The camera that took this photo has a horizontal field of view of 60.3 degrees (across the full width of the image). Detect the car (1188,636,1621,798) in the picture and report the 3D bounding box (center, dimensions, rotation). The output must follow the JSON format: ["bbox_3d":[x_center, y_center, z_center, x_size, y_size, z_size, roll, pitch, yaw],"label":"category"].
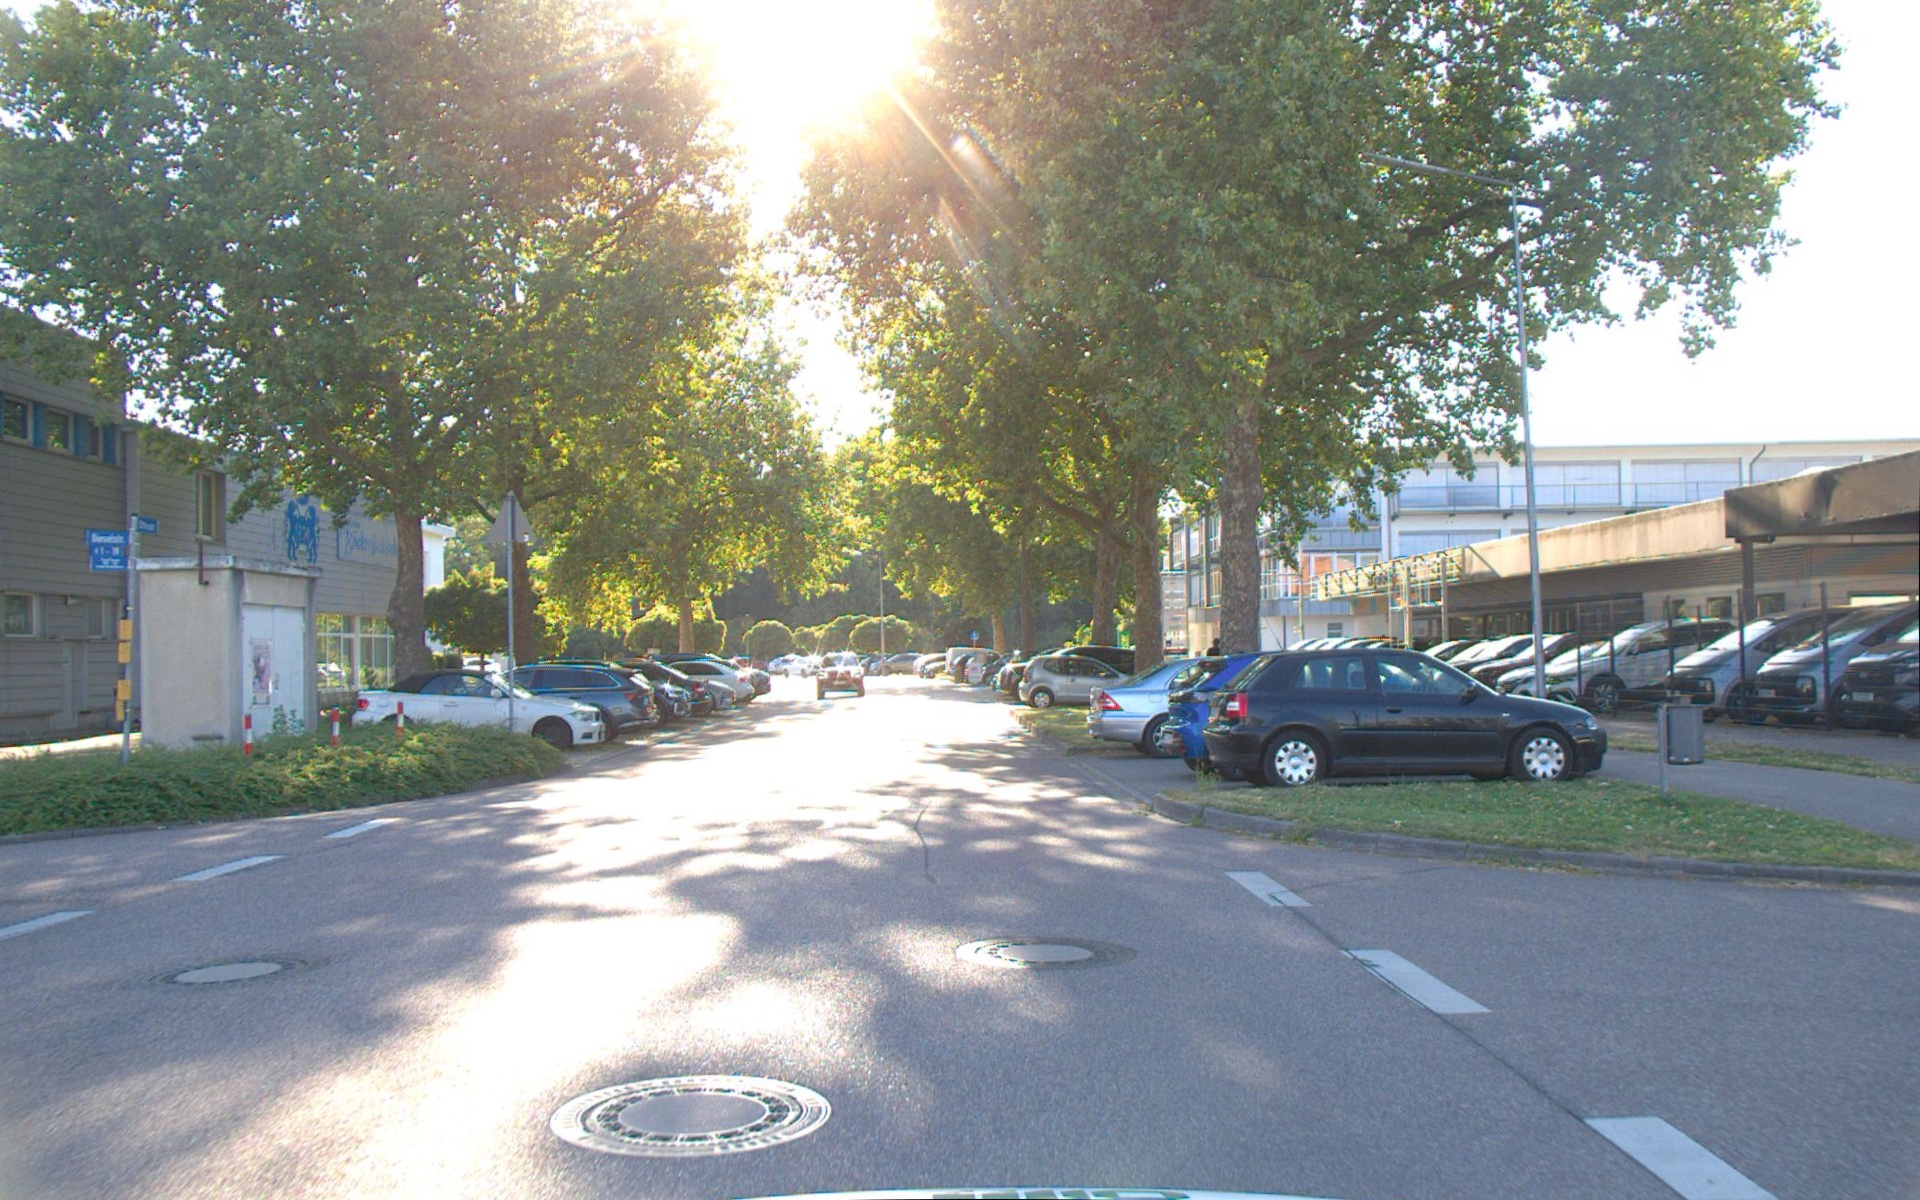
[{"bbox_3d":[4.498,1.165,17.206,3.906,1.440,1.999,-2,-1,-2],"label":"car"}]

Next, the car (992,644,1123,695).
[{"bbox_3d":[2.987,2.138,51.353,3.906,1.405,1.826,-2,-1,-2],"label":"car"}]

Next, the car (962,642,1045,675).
[{"bbox_3d":[2.083,2.832,79.937,3.906,1.440,1.826,-2,-1,-2],"label":"car"}]

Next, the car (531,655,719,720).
[{"bbox_3d":[-8.400,2.192,41.809,4.325,1.543,2.000,0,-1,0],"label":"car"}]

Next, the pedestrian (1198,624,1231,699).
[{"bbox_3d":[7.016,1.696,45.598,0.833,2.049,0.779,0,-1,3],"label":"pedestrian"}]

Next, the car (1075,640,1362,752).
[{"bbox_3d":[3.763,1.391,24.525,3.906,1.440,1.826,-2,-1,-2],"label":"car"}]

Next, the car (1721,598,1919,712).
[{"bbox_3d":[14.550,0.860,26.357,3.907,1.730,1.999,0,-1,-3],"label":"car"}]

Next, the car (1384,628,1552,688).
[{"bbox_3d":[13.726,1.560,44.804,3.907,1.573,1.999,0,-1,-3],"label":"car"}]

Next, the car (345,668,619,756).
[{"bbox_3d":[-8.300,1.937,29.082,4.331,1.428,1.997,0,-1,-7],"label":"car"}]

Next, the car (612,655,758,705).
[{"bbox_3d":[-8.736,2.531,52.815,4.325,1.543,2.000,0,-1,0],"label":"car"}]

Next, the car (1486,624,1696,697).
[{"bbox_3d":[14.034,1.327,36.926,3.907,1.573,1.999,0,-1,-3],"label":"car"}]

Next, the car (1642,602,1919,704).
[{"bbox_3d":[14.392,0.918,29.136,3.907,1.730,1.999,0,-1,-3],"label":"car"}]

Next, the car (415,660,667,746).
[{"bbox_3d":[-7.903,1.934,31.550,4.327,1.543,1.999,0,-1,-3],"label":"car"}]

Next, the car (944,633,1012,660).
[{"bbox_3d":[1.032,2.719,96.378,3.906,1.440,1.826,-2,-1,-2],"label":"car"}]

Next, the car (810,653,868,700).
[{"bbox_3d":[-4.509,2.859,62.301,1.953,1.637,3.998,1,-1,-1],"label":"car"}]

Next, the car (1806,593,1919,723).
[{"bbox_3d":[14.286,0.794,23.101,3.907,1.730,1.999,0,-1,-3],"label":"car"}]

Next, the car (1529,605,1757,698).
[{"bbox_3d":[14.136,1.061,34.381,3.907,1.864,1.999,0,-1,-3],"label":"car"}]

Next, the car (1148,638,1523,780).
[{"bbox_3d":[4.314,1.241,19.489,3.906,1.440,1.999,-2,-1,-2],"label":"car"}]

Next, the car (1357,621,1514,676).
[{"bbox_3d":[13.618,1.388,47.500,3.907,1.530,1.999,0,-1,-3],"label":"car"}]

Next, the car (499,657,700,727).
[{"bbox_3d":[-8.357,2.116,38.677,4.329,1.543,1.998,0,-1,-5],"label":"car"}]

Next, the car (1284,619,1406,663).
[{"bbox_3d":[13.919,1.479,59.983,3.907,1.573,1.999,0,-1,-3],"label":"car"}]

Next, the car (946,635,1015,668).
[{"bbox_3d":[1.160,2.973,95.755,3.906,1.808,1.826,-2,-1,-2],"label":"car"}]

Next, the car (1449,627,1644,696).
[{"bbox_3d":[13.906,1.445,39.355,3.907,1.573,1.999,0,-1,-3],"label":"car"}]

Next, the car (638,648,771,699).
[{"bbox_3d":[-8.920,2.578,57.999,4.325,1.727,2.000,0,-1,0],"label":"car"}]

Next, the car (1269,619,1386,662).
[{"bbox_3d":[13.828,1.529,62.391,3.907,1.573,1.999,0,-1,-3],"label":"car"}]

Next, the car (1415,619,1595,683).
[{"bbox_3d":[13.818,1.289,42.087,3.907,1.573,1.999,0,-1,-3],"label":"car"}]

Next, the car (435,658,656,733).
[{"bbox_3d":[-8.960,2.051,36.055,4.327,1.543,1.999,0,-1,-3],"label":"car"}]

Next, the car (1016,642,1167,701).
[{"bbox_3d":[3.568,1.957,45.392,3.906,1.440,1.826,-2,-1,-2],"label":"car"}]
